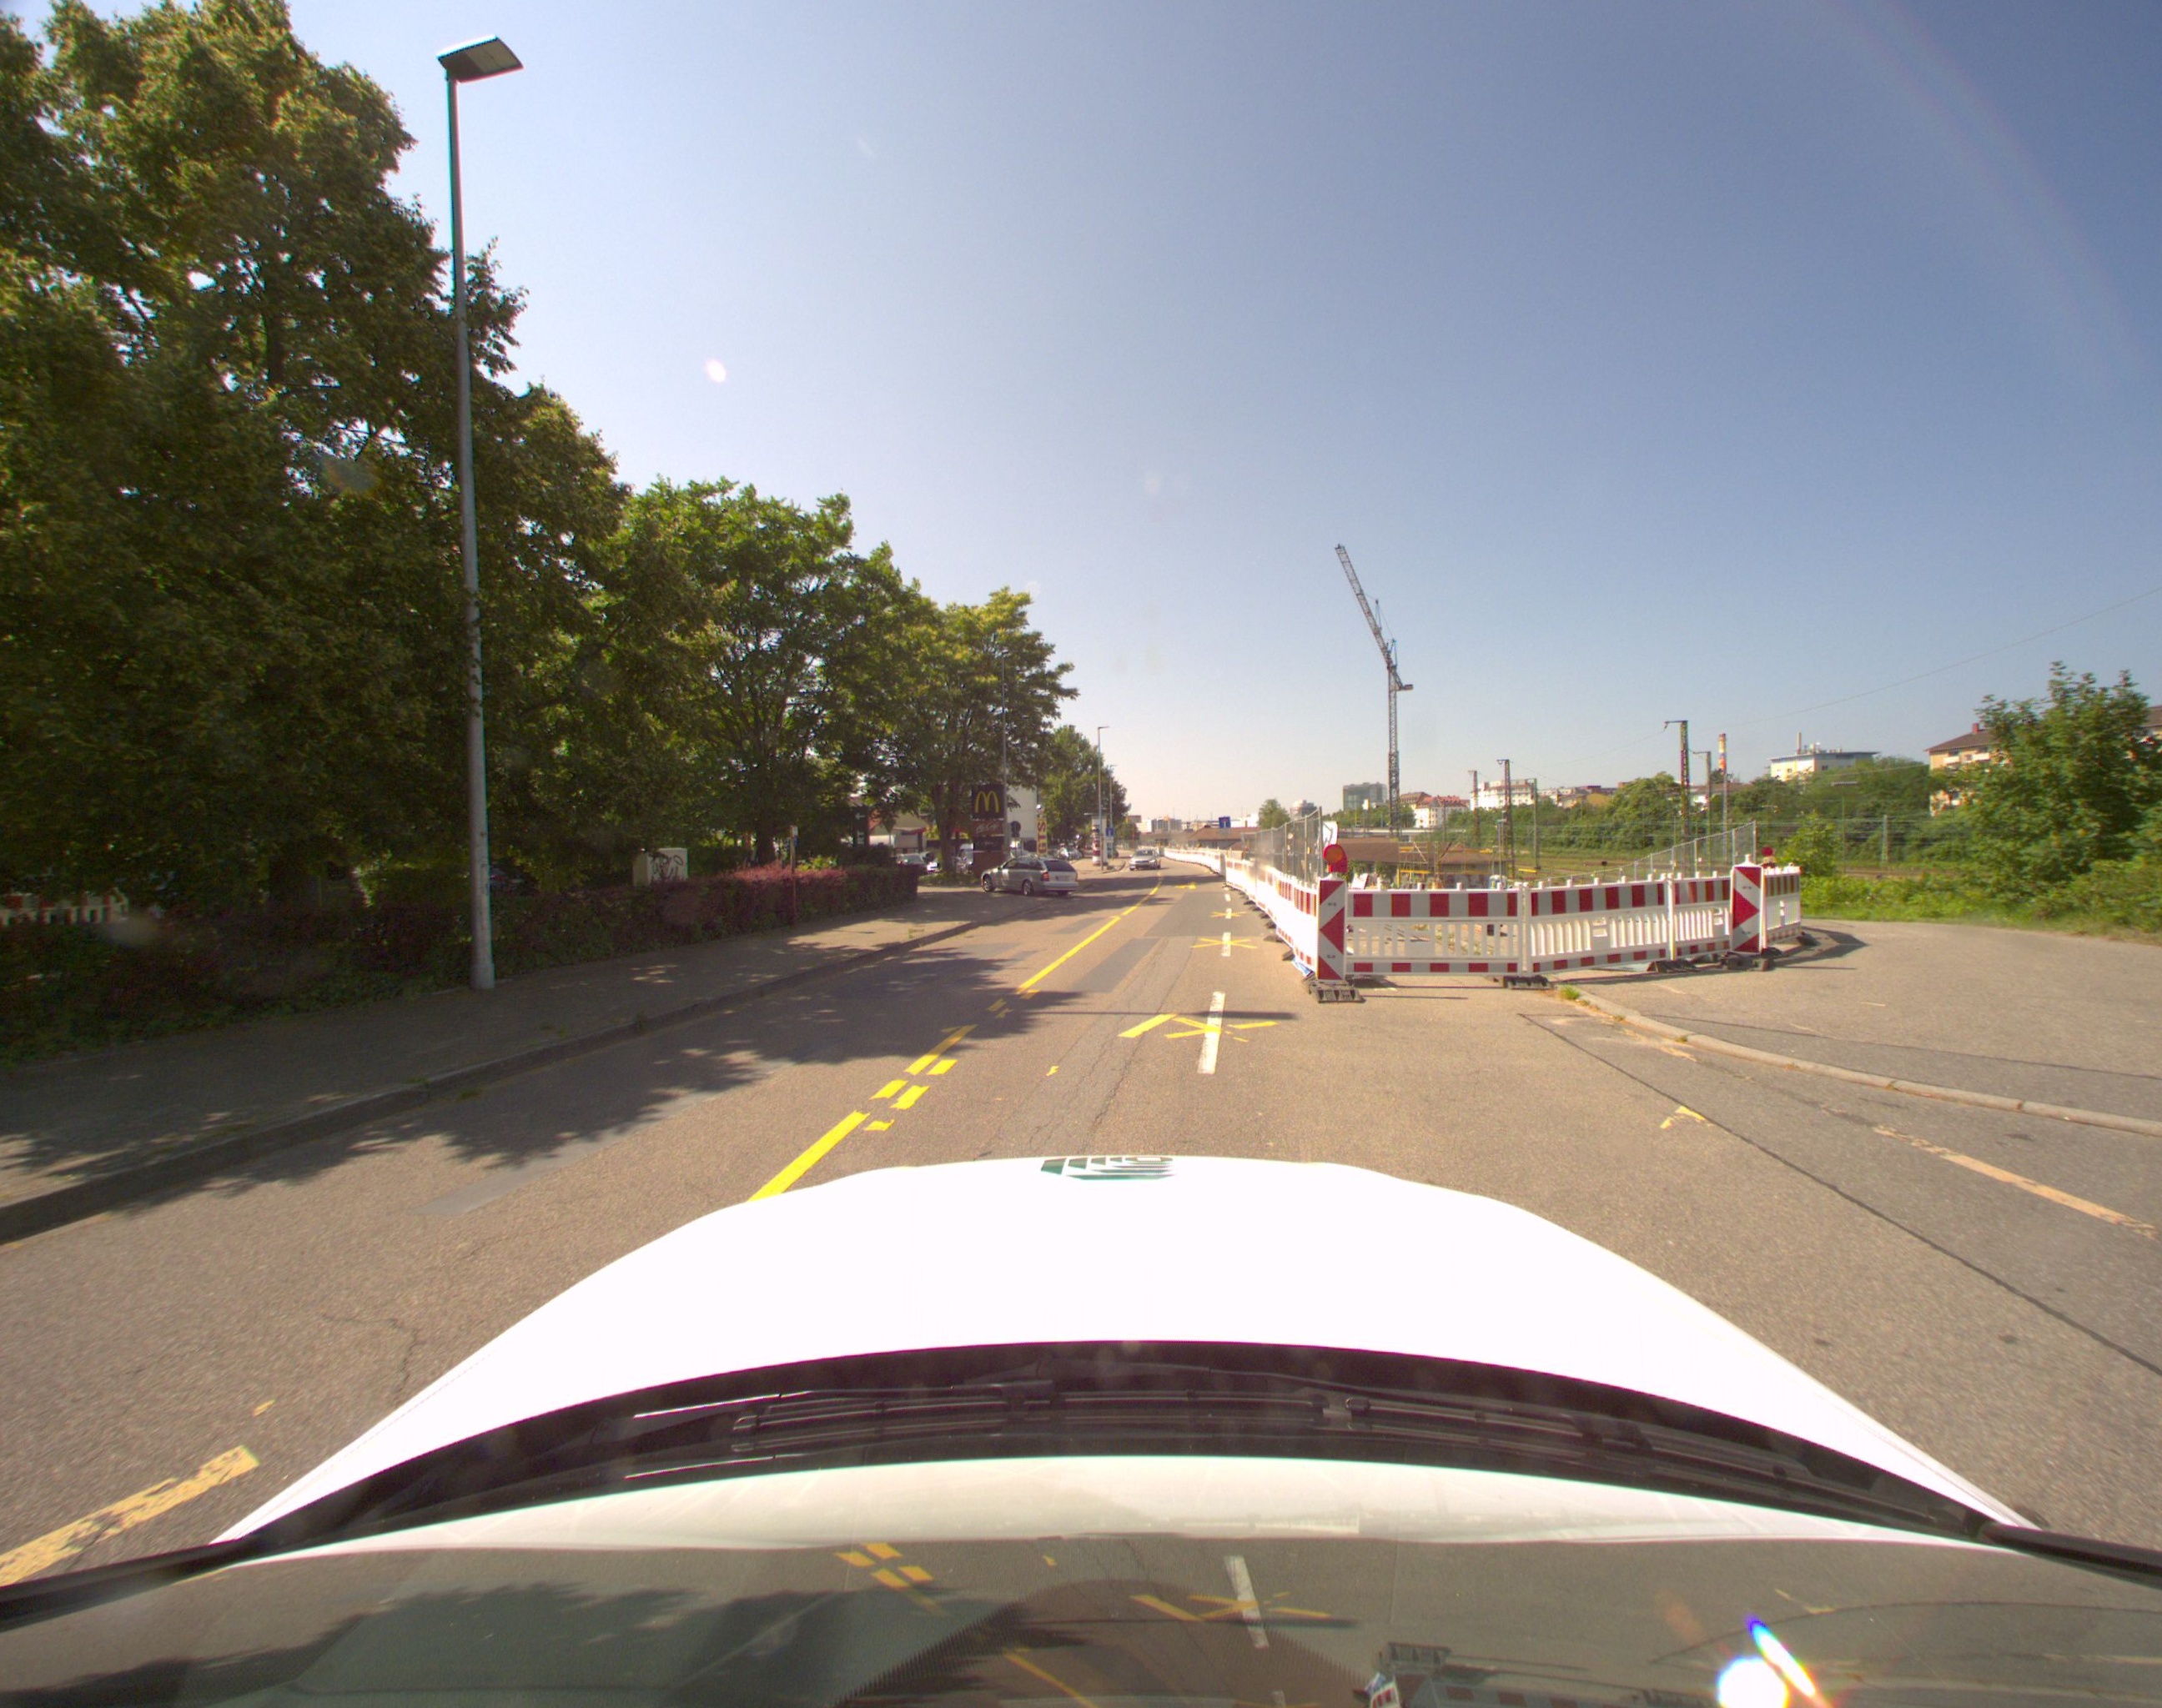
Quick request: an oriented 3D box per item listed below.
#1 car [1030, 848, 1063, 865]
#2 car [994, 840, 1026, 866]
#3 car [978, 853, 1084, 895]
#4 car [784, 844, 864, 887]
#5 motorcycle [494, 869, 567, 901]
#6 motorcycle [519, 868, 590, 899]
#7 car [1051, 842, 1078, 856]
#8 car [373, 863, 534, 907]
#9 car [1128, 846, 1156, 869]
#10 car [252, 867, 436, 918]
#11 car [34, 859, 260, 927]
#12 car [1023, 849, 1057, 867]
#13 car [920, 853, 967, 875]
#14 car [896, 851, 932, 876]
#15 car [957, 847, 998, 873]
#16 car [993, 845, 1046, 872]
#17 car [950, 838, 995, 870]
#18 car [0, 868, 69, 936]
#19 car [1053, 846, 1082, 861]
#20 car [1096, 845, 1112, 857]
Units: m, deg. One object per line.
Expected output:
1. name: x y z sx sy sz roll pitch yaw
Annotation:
1. car: -3.477 0.267 81.325 1.677 1.472 3.964 -5 1 -28
2. car: -6.859 -0.064 79.139 2.236 2.430 5.724 1 0 4
3. car: -1.924 0.704 29.854 1.722 1.404 4.336 0 0 -38
4. car: -13.919 0.662 44.027 4.466 1.920 1.905 -5 1 41
5. motorcycle: -20.495 1.159 30.355 2.182 1.116 0.566 -1 0 -18
6. motorcycle: -20.170 1.118 31.240 2.182 1.131 0.566 -1 0 -18
7. car: -2.516 -0.743 121.561 3.916 1.958 1.756 -1 0 -5
8. car: -21.471 1.035 27.991 4.072 1.387 1.768 -1 0 -3
9. car: 4.372 0.229 57.490 1.668 1.493 4.616 -2 0 7
10. car: -22.638 1.160 25.135 4.048 1.395 1.626 -1 0 -3
11. car: -25.850 1.050 22.662 4.001 1.732 1.800 -1 0 -3
12. car: -3.633 0.360 71.761 1.843 1.472 3.973 -5 1 -20
13. car: -11.259 0.795 67.171 1.894 1.574 4.707 -2 1 16
14. car: -12.592 0.717 61.066 1.812 1.656 4.283 -4 1 -22
15. car: -7.680 0.466 60.082 2.049 1.707 4.286 -3 -1 -20
16. car: -4.703 0.369 61.283 1.989 1.706 4.616 -4 -2 -32
17. car: -9.946 -0.006 75.565 2.262 2.758 6.170 -3 0 10
18. car: -27.820 1.180 19.908 3.829 1.587 1.641 -1 0 -4
19. car: -1.620 -0.037 93.979 1.785 1.473 3.967 -5 1 -25
20. car: 3.098 -0.444 109.641 1.860 1.498 4.039 -3 1 6
